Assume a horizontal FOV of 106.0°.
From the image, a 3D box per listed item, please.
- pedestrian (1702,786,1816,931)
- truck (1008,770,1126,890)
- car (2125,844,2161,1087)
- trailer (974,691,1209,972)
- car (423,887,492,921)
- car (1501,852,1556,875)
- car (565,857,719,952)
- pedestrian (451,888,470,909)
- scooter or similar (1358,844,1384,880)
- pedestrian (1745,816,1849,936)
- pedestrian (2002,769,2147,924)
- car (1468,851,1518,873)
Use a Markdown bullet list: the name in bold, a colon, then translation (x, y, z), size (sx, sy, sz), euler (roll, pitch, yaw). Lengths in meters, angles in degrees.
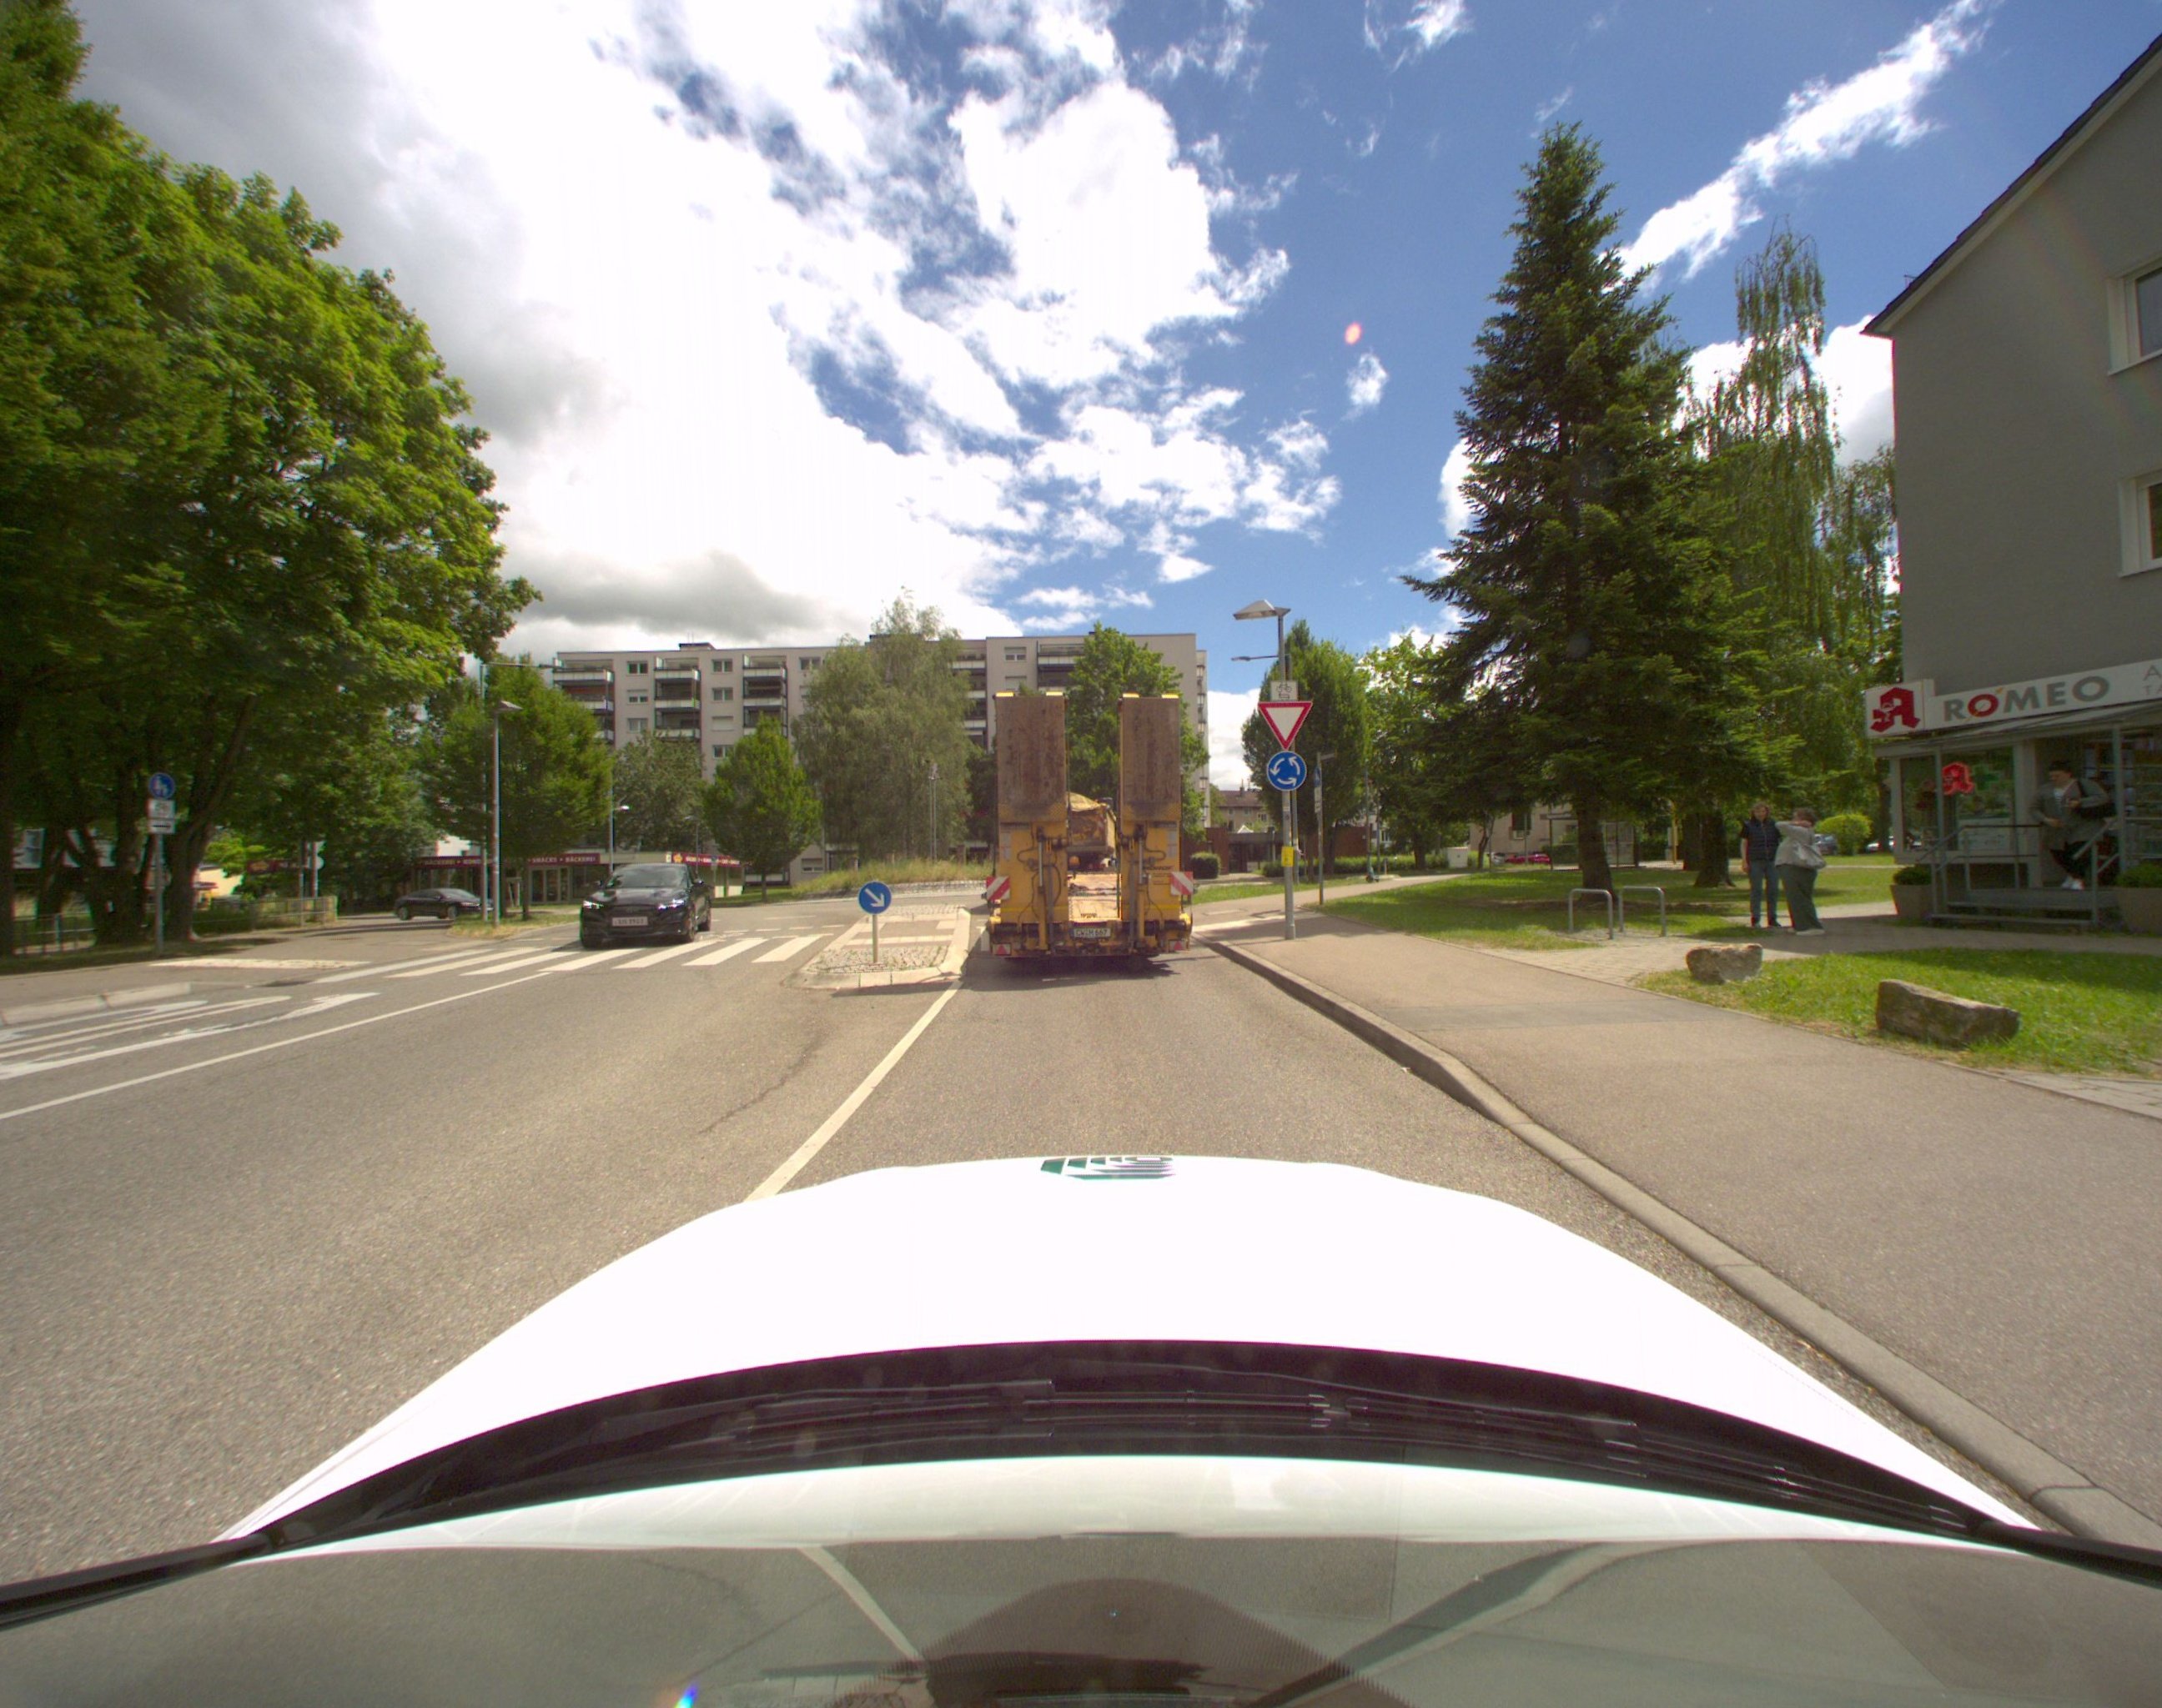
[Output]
- **pedestrian**: translation (9.955, 0.064, 11.991), size (0.654, 2.014, 1.042), euler (-2, -1, -12)
- **truck**: translation (-0.269, -0.678, 24.831), size (2.977, 3.034, 8.488), euler (0, 1, 1)
- **car**: translation (7.946, 0.410, 3.837), size (4.488, 1.243, 1.991), euler (-4, 0, -13)
- **trailer**: translation (-0.141, -0.295, 15.302), size (2.857, 3.372, 10.828), euler (0, 0, -3)
- **car**: translation (-28.274, 2.225, 36.875), size (4.560, 1.383, 1.834), euler (-3, -1, 45)
- **car**: translation (38.966, 0.836, 71.070), size (2.015, 1.941, 3.979), euler (0, -1, -15)
- **car**: translation (-8.828, 0.896, 16.810), size (1.999, 1.525, 4.496), euler (-2, 1, -19)
- **pedestrian**: translation (-42.574, 3.054, 55.855), size (0.693, 1.381, 0.721), euler (-3, -1, 6)
- **scooter or similar**: translation (11.330, 0.311, 31.796), size (0.480, 1.343, 1.397), euler (-3, 0, 37)
- **pedestrian**: translation (9.605, 0.282, 10.941), size (0.741, 1.530, 0.689), euler (-2, -1, -9)
- **pedestrian**: translation (13.195, -0.100, 10.837), size (0.842, 1.956, 0.936), euler (-2, -1, -20)
- **car**: translation (37.999, 0.752, 75.258), size (1.997, 1.941, 3.979), euler (0, -1, -15)
